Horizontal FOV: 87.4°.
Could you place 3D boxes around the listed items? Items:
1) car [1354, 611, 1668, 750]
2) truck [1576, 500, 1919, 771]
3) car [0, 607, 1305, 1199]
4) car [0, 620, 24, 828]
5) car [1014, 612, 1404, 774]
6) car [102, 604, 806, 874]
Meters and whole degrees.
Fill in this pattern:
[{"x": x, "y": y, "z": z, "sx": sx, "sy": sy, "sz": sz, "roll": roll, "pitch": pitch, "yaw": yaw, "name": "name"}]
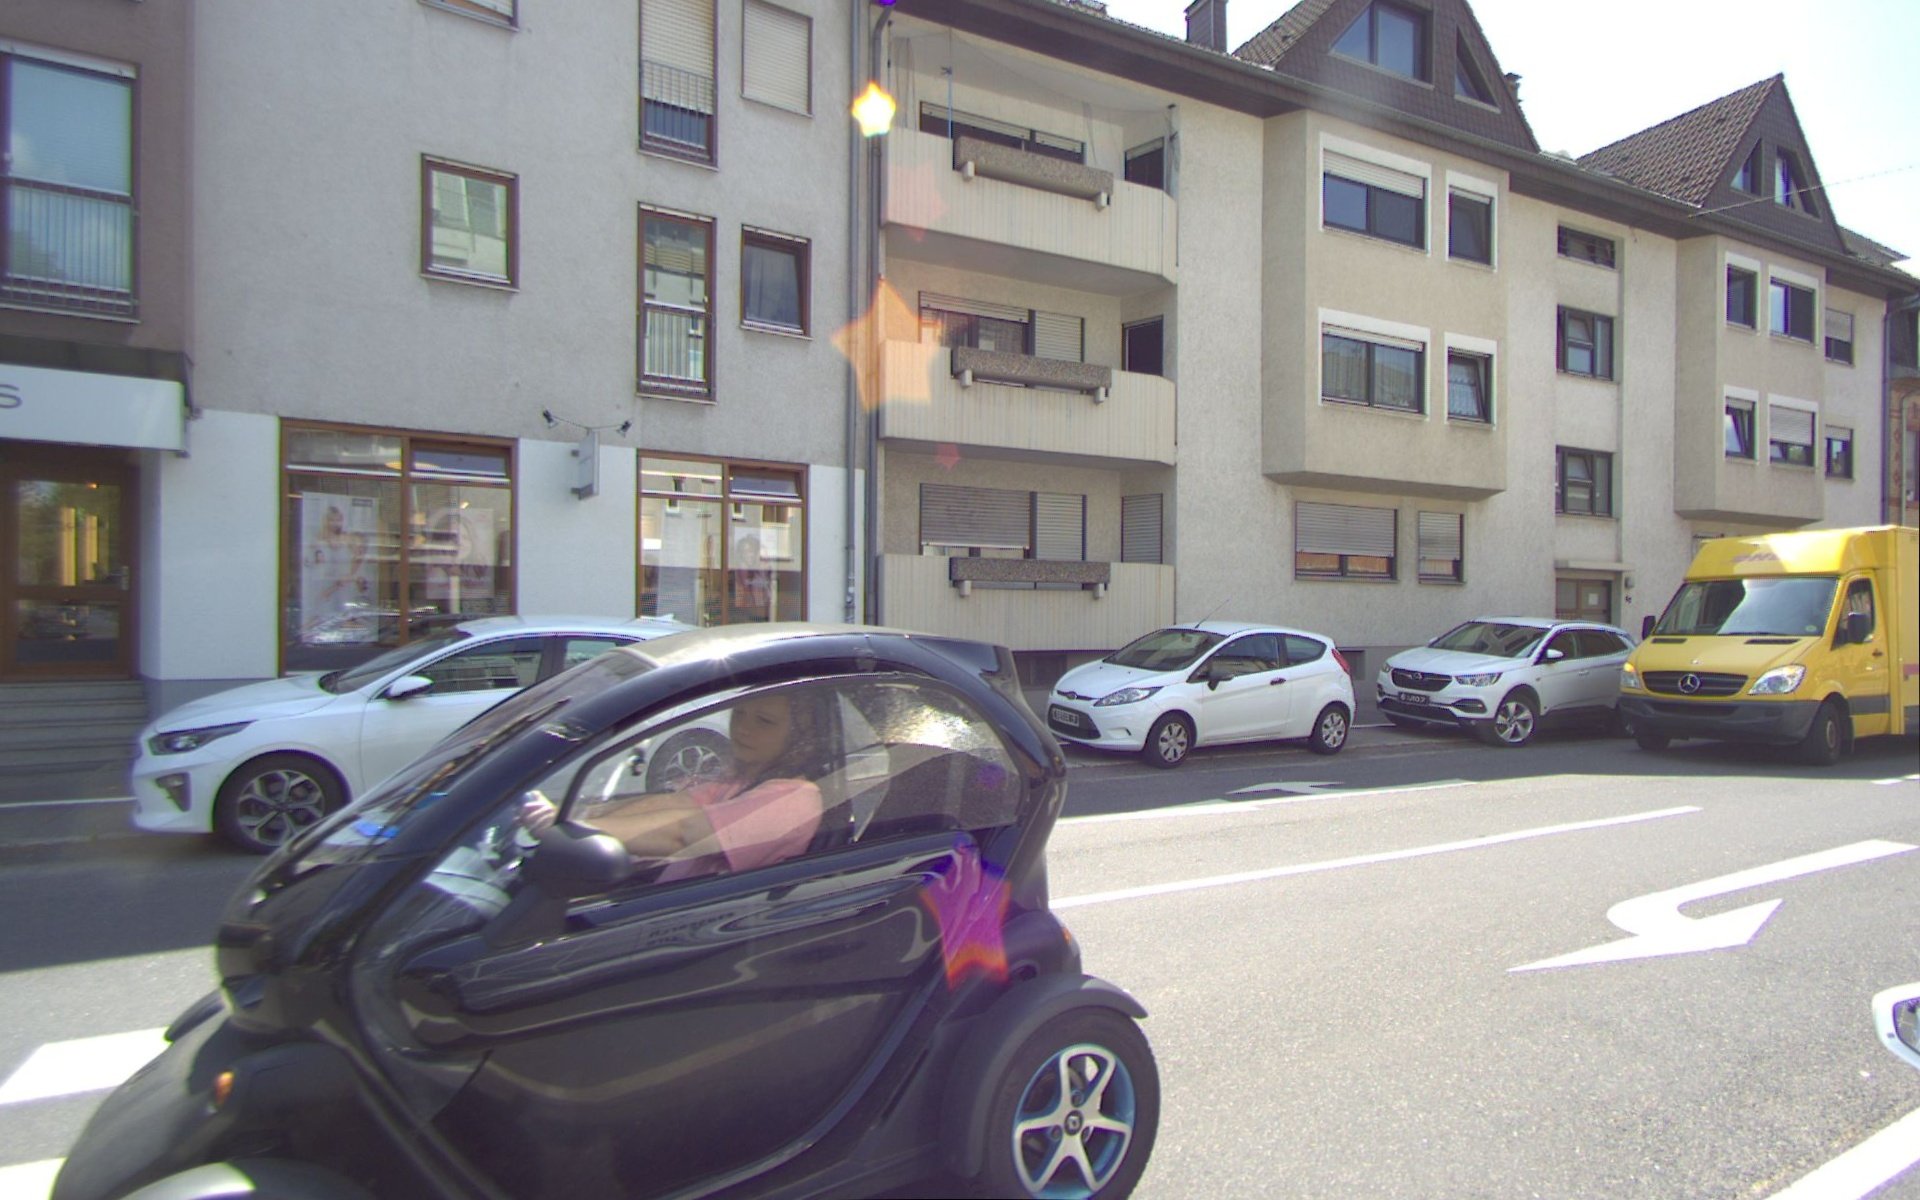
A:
[{"x": 7.755, "y": 1.034, "z": 14.073, "sx": 4.334, "sy": 1.617, "sz": 1.831, "roll": 1, "pitch": 1, "yaw": -30, "name": "car"}, {"x": 11.422, "y": 0.470, "z": 13.181, "sx": 7.469, "sy": 2.807, "sz": 2.217, "roll": 1, "pitch": -2, "yaw": -28, "name": "truck"}, {"x": -0.600, "y": 0.776, "z": 2.546, "sx": 2.694, "sy": 1.478, "sz": 1.488, "roll": 1, "pitch": -1, "yaw": -34, "name": "car"}, {"x": -8.147, "y": 0.825, "z": 5.343, "sx": 4.275, "sy": 1.402, "sz": 1.831, "roll": 1, "pitch": 1, "yaw": -29, "name": "car"}, {"x": 2.960, "y": 0.972, "z": 11.736, "sx": 4.334, "sy": 1.509, "sz": 1.831, "roll": 1, "pitch": 1, "yaw": -30, "name": "car"}, {"x": -3.568, "y": 0.862, "z": 7.743, "sx": 4.335, "sy": 1.509, "sz": 1.830, "roll": 1, "pitch": 1, "yaw": -31, "name": "car"}]
